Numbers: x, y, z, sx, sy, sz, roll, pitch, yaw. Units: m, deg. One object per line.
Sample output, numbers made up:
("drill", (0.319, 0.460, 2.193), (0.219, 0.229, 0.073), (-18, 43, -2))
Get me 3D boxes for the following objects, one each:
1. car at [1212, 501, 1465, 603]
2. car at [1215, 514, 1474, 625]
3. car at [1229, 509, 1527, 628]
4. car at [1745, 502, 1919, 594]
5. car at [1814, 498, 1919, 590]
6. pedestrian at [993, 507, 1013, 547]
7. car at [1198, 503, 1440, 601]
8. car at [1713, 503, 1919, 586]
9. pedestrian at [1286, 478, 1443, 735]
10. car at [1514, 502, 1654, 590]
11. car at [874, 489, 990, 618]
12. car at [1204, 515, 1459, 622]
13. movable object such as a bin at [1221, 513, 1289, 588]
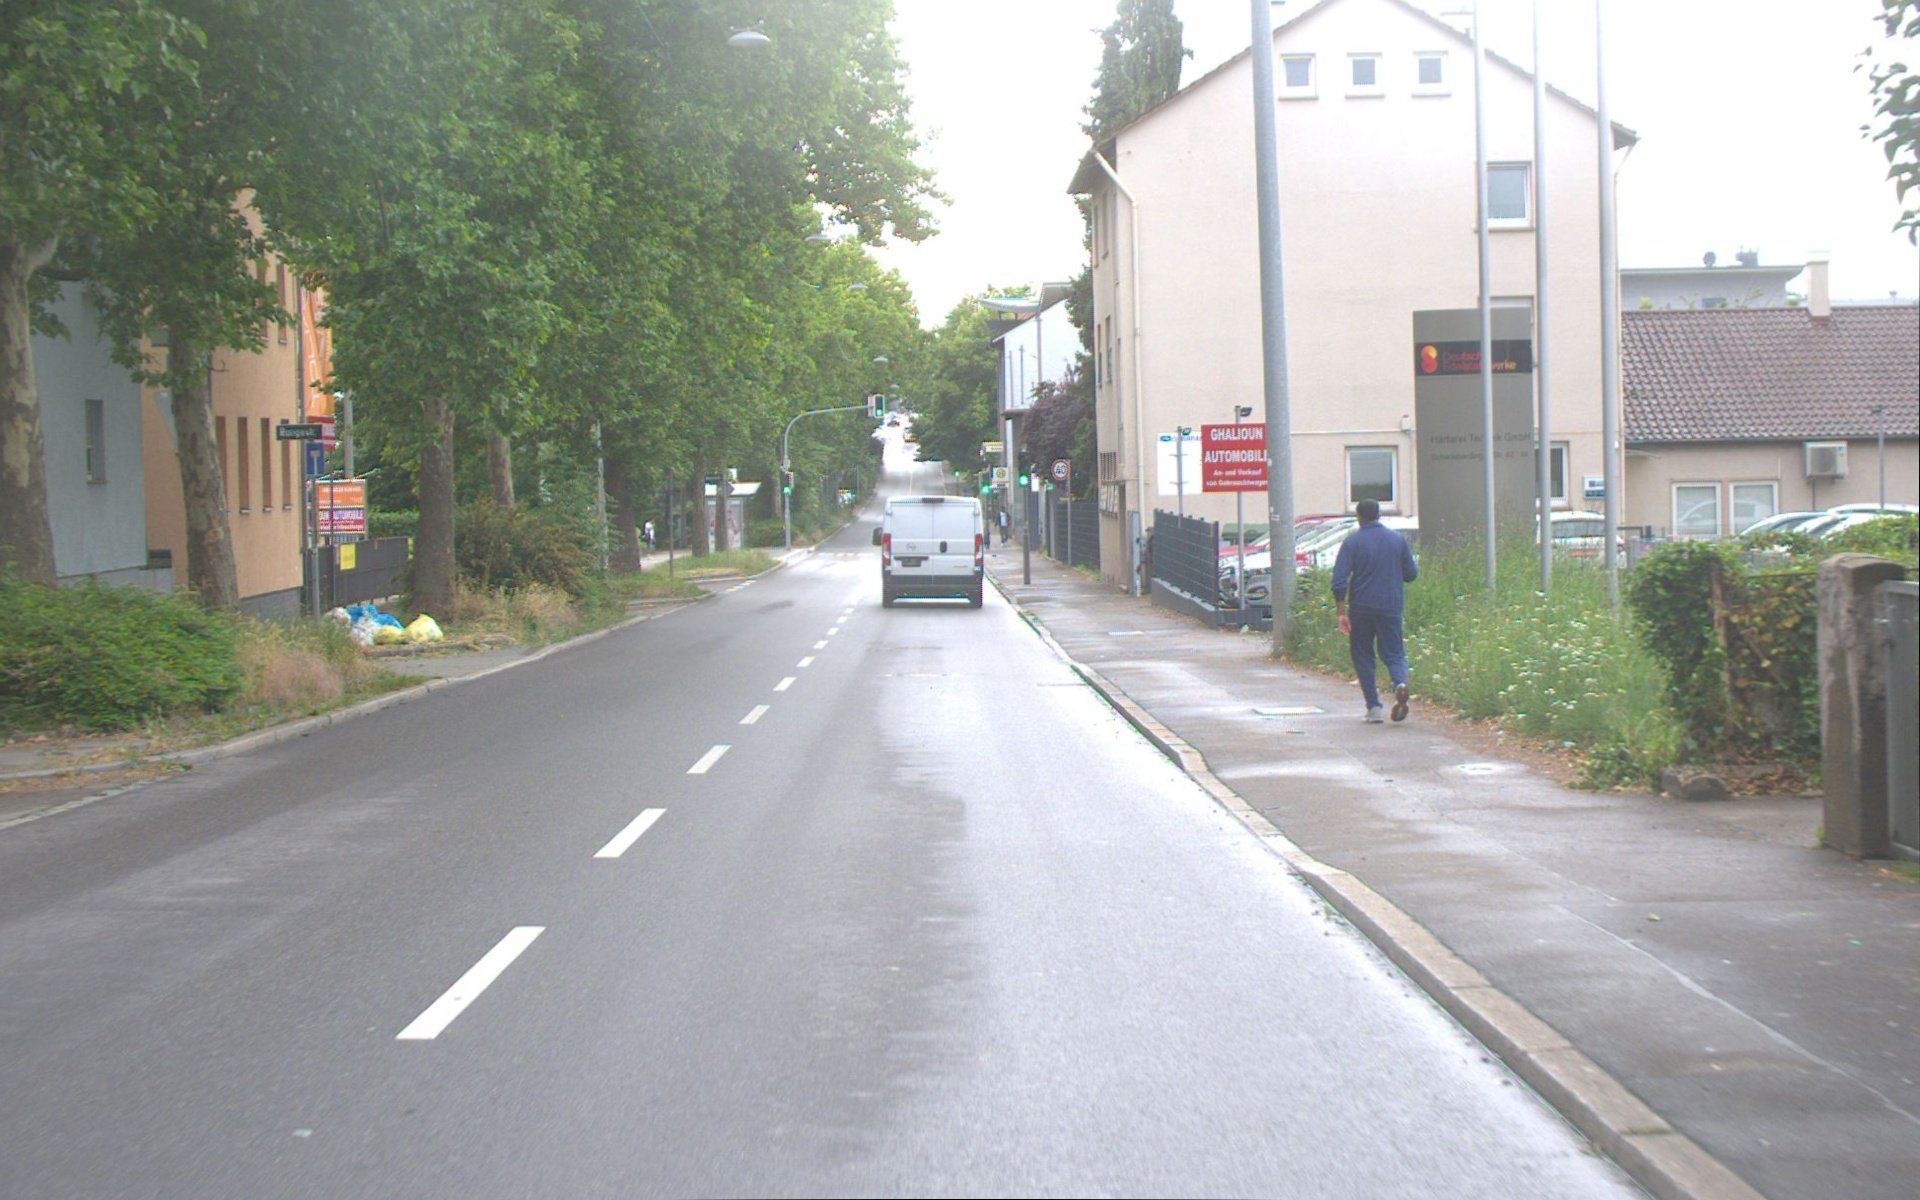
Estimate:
("car", (6.659, -0.844, 60.792), (4.228, 1.730, 1.870), (1, 0, 0))
("car", (6.169, -0.498, 55.433), (3.948, 1.718, 1.791), (1, 1, 0))
("car", (6.366, -0.475, 52.734), (4.302, 1.762, 2.000), (0, 0, 0))
("car", (16.250, -0.908, 61.259), (4.084, 1.595, 1.795), (1, 0, -2))
("car", (16.722, -0.939, 58.690), (3.763, 1.527, 1.759), (1, 1, -4))
("pedestrian", (1.855, -3.117, 147.444), (0.742, 1.698, 0.902), (1, 0, -6))
("car", (6.600, -0.876, 63.500), (4.228, 1.730, 1.870), (1, 0, 0))
("car", (16.950, -1.091, 67.676), (3.990, 1.587, 1.820), (1, 0, 17))
("pedestrian", (3.043, 0.045, 25.941), (1.043, 1.891, 0.901), (-1, 0, 0))
("car", (11.304, -0.962, 62.524), (1.808, 1.525, 3.628), (1, 0, -1))
("car", (-0.569, -0.936, 70.057), (2.282, 2.544, 4.000), (0, 0, 0))
("car", (6.238, -0.530, 58.040), (4.066, 1.730, 1.870), (1, 0, 0))
("movable object such as a bin", (6.129, -1.025, 71.596), (1.234, 1.504, 1.111), (-3, 0, -1))
